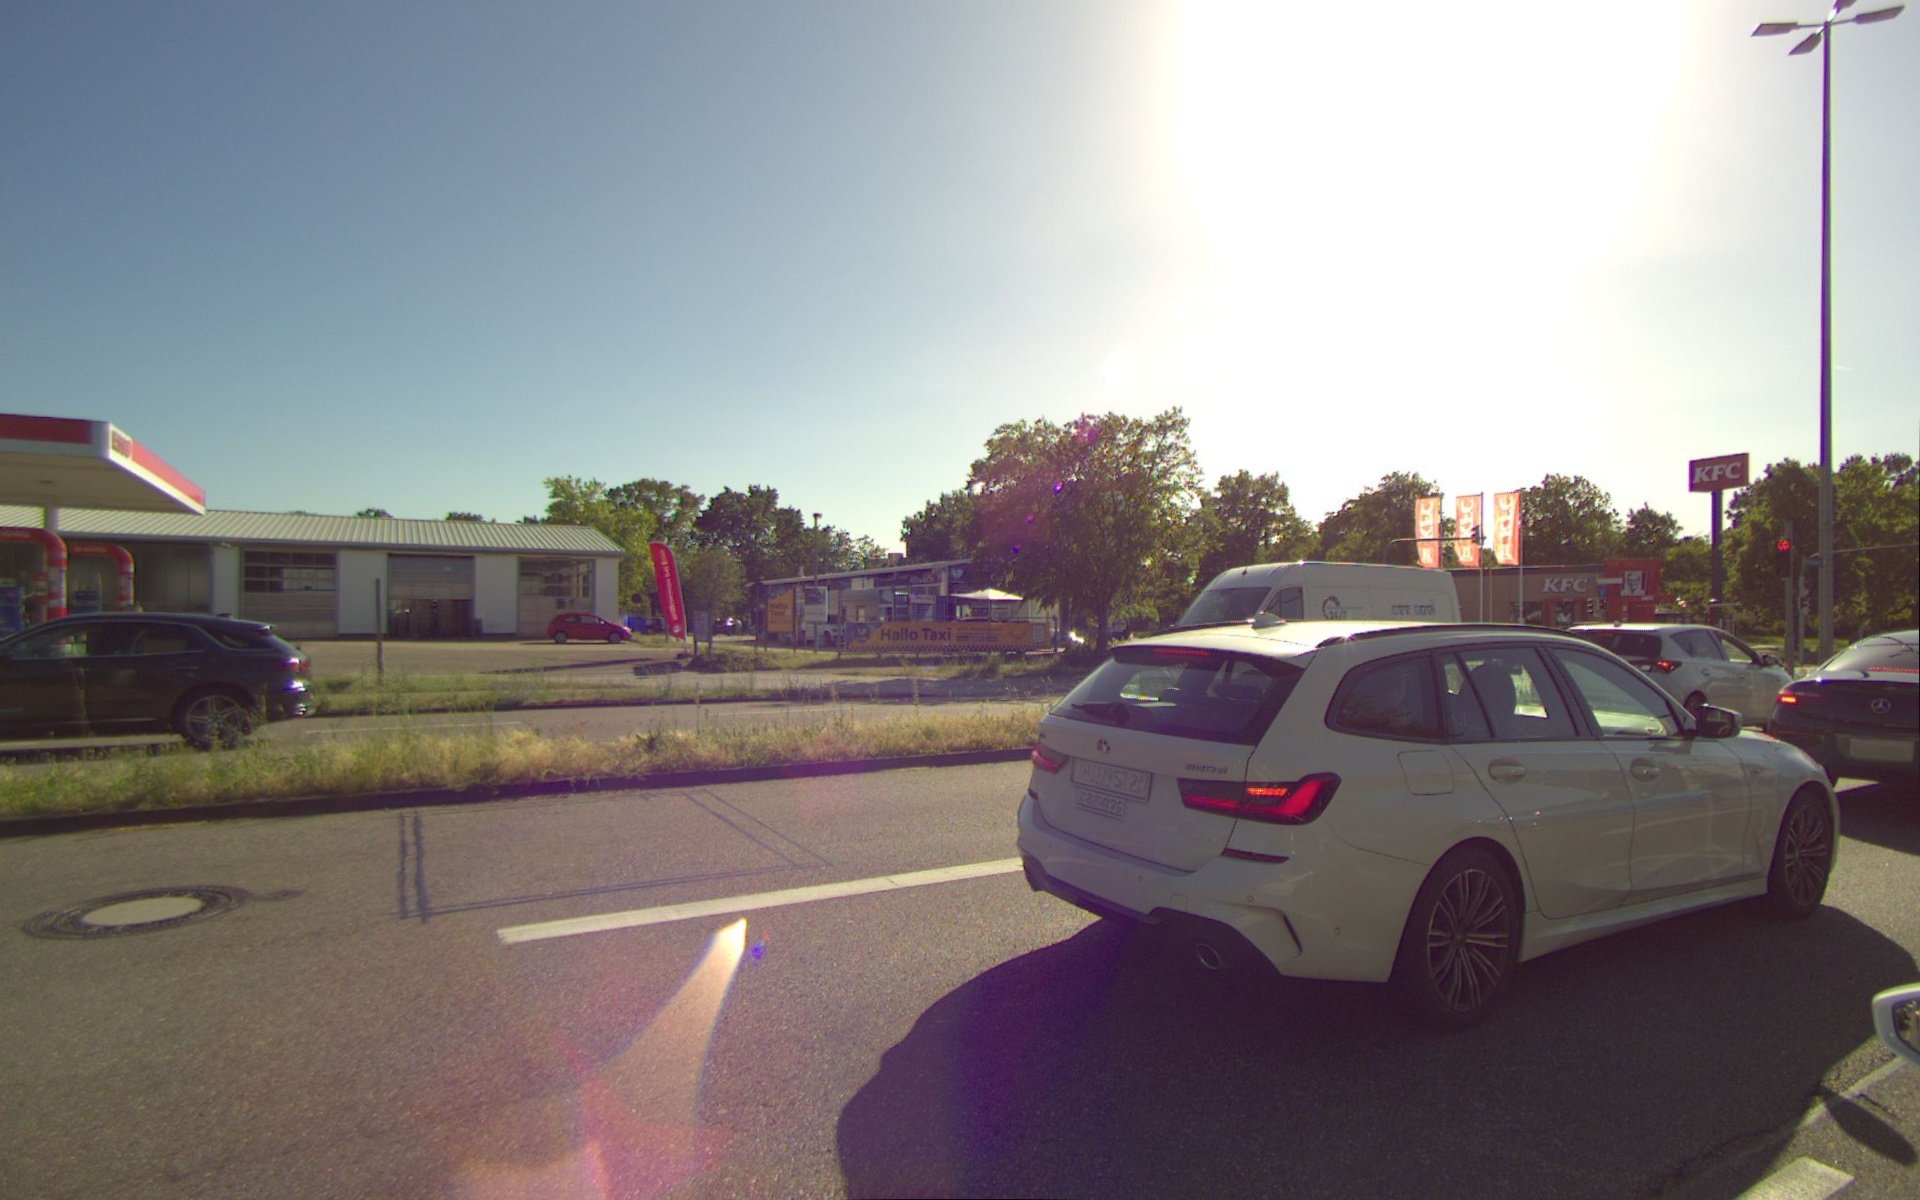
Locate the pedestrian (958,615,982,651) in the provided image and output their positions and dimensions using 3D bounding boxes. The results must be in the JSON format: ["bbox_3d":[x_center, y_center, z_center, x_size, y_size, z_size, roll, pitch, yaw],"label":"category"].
[{"bbox_3d":[0.515,1.690,51.884,0.806,1.828,0.948,0,-1,42],"label":"pedestrian"}]

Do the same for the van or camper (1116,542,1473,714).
[{"bbox_3d":[6.062,0.541,17.823,6.675,2.606,2.168,1,-3,-31],"label":"van or camper"}]

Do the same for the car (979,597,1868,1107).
[{"bbox_3d":[2.421,0.800,4.902,4.409,1.529,1.760,1,-1,-30],"label":"car"}]

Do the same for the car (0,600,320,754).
[{"bbox_3d":[-10.477,0.902,12.123,4.563,1.674,1.983,1,-3,-32],"label":"car"}]

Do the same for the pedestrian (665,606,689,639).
[{"bbox_3d":[-15.461,1.240,54.880,1.085,1.787,1.152,1,-1,-26],"label":"pedestrian"}]

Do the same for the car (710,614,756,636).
[{"bbox_3d":[-19.931,2.166,88.255,2.085,1.840,4.000,0,-1,20],"label":"car"}]

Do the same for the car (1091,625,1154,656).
[{"bbox_3d":[9.896,2.457,61.392,1.738,1.751,3.969,1,-1,-29],"label":"car"}]

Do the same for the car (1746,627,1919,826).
[{"bbox_3d":[8.799,0.968,8.623,4.409,1.433,1.760,1,-1,-30],"label":"car"}]

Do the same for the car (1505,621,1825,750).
[{"bbox_3d":[9.383,1.022,13.299,4.352,1.448,1.848,1,-1,-30],"label":"car"}]

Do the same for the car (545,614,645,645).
[{"bbox_3d":[-18.007,1.440,49.557,4.486,1.458,1.741,1,-1,-26],"label":"car"}]
